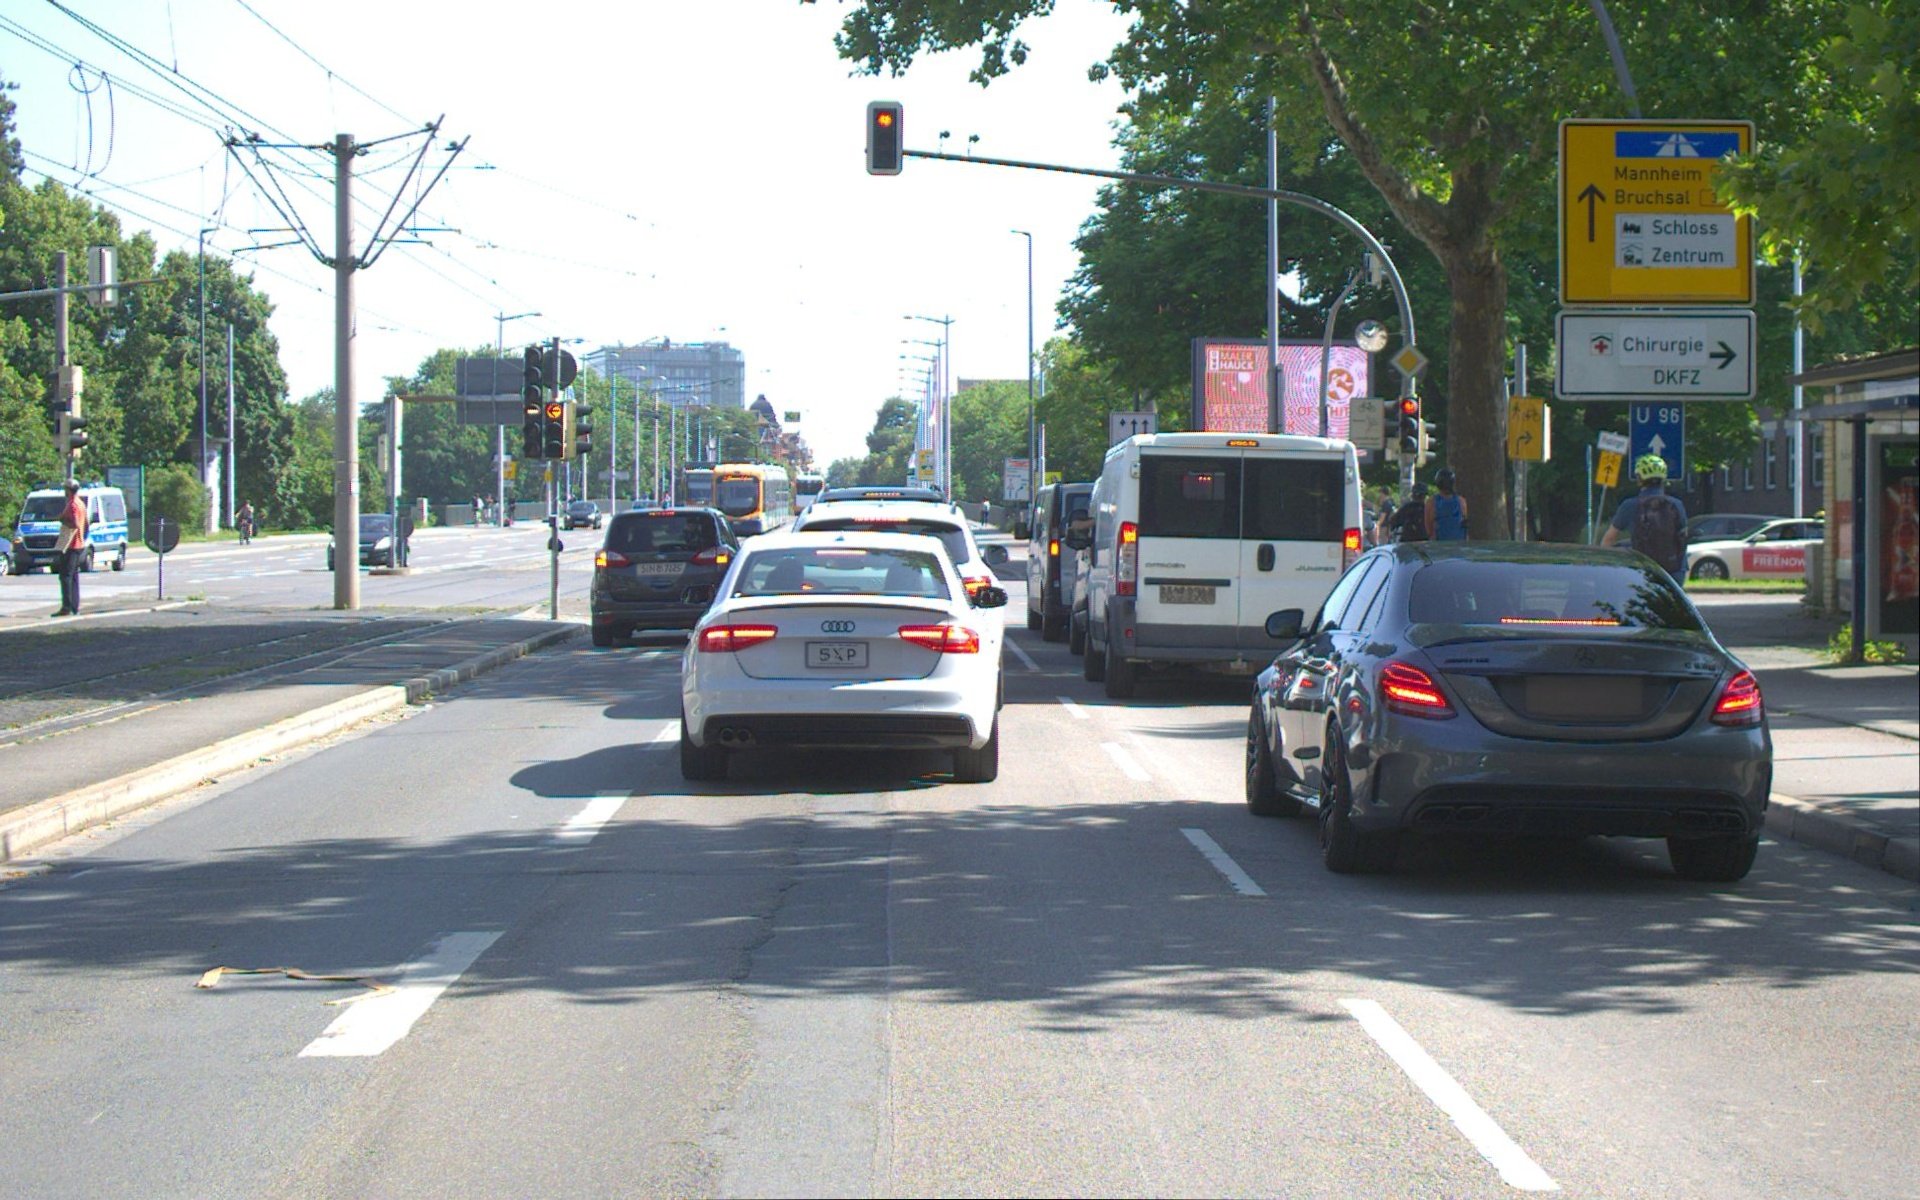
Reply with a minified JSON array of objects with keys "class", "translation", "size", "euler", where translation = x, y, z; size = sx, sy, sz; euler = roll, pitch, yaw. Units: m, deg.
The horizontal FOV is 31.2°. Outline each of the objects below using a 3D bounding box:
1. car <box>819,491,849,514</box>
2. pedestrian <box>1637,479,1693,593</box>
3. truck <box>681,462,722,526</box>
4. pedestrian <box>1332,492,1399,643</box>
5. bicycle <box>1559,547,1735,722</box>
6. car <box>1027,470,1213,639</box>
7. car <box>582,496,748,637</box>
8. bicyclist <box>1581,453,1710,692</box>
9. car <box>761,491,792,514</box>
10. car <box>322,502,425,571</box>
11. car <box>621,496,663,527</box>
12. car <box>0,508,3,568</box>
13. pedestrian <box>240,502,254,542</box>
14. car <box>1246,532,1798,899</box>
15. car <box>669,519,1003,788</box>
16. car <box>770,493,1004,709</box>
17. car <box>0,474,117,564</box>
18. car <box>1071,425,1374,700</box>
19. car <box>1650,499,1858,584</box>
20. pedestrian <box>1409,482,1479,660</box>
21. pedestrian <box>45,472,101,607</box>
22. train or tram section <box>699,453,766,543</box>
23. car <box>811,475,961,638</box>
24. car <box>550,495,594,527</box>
[{"class":"car","translation":[-8.927,-6.895,244.387],"size":[1.871,1.603,4.000],"euler":[1,1,1]},{"class":"pedestrian","translation":[11.144,-1.018,54.380],"size":[0.778,1.782,0.764],"euler":[0,1,6]},{"class":"truck","translation":[-13.596,-5.549,181.035],"size":[1.993,3.313,6.022],"euler":[0,1,-3]},{"class":"pedestrian","translation":[4.637,-0.385,39.354],"size":[0.602,1.689,0.953],"euler":[-2,1,-1]},{"class":"bicycle","translation":[4.879,0.218,24.554],"size":[0.714,1.144,2.178],"euler":[-2,2,-2]},{"class":"car","translation":[1.956,-0.596,43.187],"size":[2.072,1.992,4.058],"euler":[1,1,-1]},{"class":"car","translation":[-3.560,-0.437,42.045],"size":[1.729,1.625,4.000],"euler":[1,1,-1]},{"class":"bicyclist","translation":[4.862,-0.205,24.425],"size":[0.634,1.642,0.979],"euler":[-2,1,-2]},{"class":"car","translation":[-13.051,-6.950,244.269],"size":[1.871,1.603,4.000],"euler":[1,1,1]},{"class":"car","translation":[-15.040,-1.644,88.321],"size":[1.993,1.728,4.000],"euler":[1,1,-1]},{"class":"car","translation":[-17.020,-4.759,184.226],"size":[1.993,1.635,4.001],"euler":[1,1,-2]},{"class":"car","translation":[-25.060,-1.520,84.815],"size":[1.830,1.514,3.946],"euler":[1,1,-1]},{"class":"pedestrian","translation":[-27.440,-3.009,132.387],"size":[0.420,1.543,0.552],"euler":[1,1,0]},{"class":"car","translation":[2.401,0.422,15.667],"size":[1.782,1.415,4.000],"euler":[1,1,-1]},{"class":"car","translation":[-0.696,0.244,20.432],"size":[1.784,1.416,3.885],"euler":[1,1,-1]},{"class":"car","translation":[-0.576,-0.041,27.625],"size":[1.729,1.599,3.885],"euler":[1,1,-1]},{"class":"car","translation":[-24.250,-2.193,92.593],"size":[2.114,2.374,4.000],"euler":[0,2,0]},{"class":"car","translation":[2.194,-0.357,29.923],"size":[2.230,2.204,4.162],"euler":[1,1,-1]},{"class":"car","translation":[16.119,-1.205,69.906],"size":[3.777,1.666,1.793],"euler":[1,1,0]},{"class":"pedestrian","translation":[5.343,-0.322,37.956],"size":[0.635,1.939,0.719],"euler":[1,1,0]},{"class":"pedestrian","translation":[-12.692,-0.870,49.223],"size":[0.624,1.911,0.690],"euler":[1,1,0]},{"class":"train or tram section","translation":[-10.387,-4.681,157.667],"size":[2.616,4.001,7.750],"euler":[1,1,-1]},{"class":"car","translation":[-0.898,-0.561,42.271],"size":[1.729,1.895,4.000],"euler":[1,1,-1]},{"class":"car","translation":[-20.289,-4.660,179.912],"size":[1.993,1.635,4.001],"euler":[1,1,-2]}]
